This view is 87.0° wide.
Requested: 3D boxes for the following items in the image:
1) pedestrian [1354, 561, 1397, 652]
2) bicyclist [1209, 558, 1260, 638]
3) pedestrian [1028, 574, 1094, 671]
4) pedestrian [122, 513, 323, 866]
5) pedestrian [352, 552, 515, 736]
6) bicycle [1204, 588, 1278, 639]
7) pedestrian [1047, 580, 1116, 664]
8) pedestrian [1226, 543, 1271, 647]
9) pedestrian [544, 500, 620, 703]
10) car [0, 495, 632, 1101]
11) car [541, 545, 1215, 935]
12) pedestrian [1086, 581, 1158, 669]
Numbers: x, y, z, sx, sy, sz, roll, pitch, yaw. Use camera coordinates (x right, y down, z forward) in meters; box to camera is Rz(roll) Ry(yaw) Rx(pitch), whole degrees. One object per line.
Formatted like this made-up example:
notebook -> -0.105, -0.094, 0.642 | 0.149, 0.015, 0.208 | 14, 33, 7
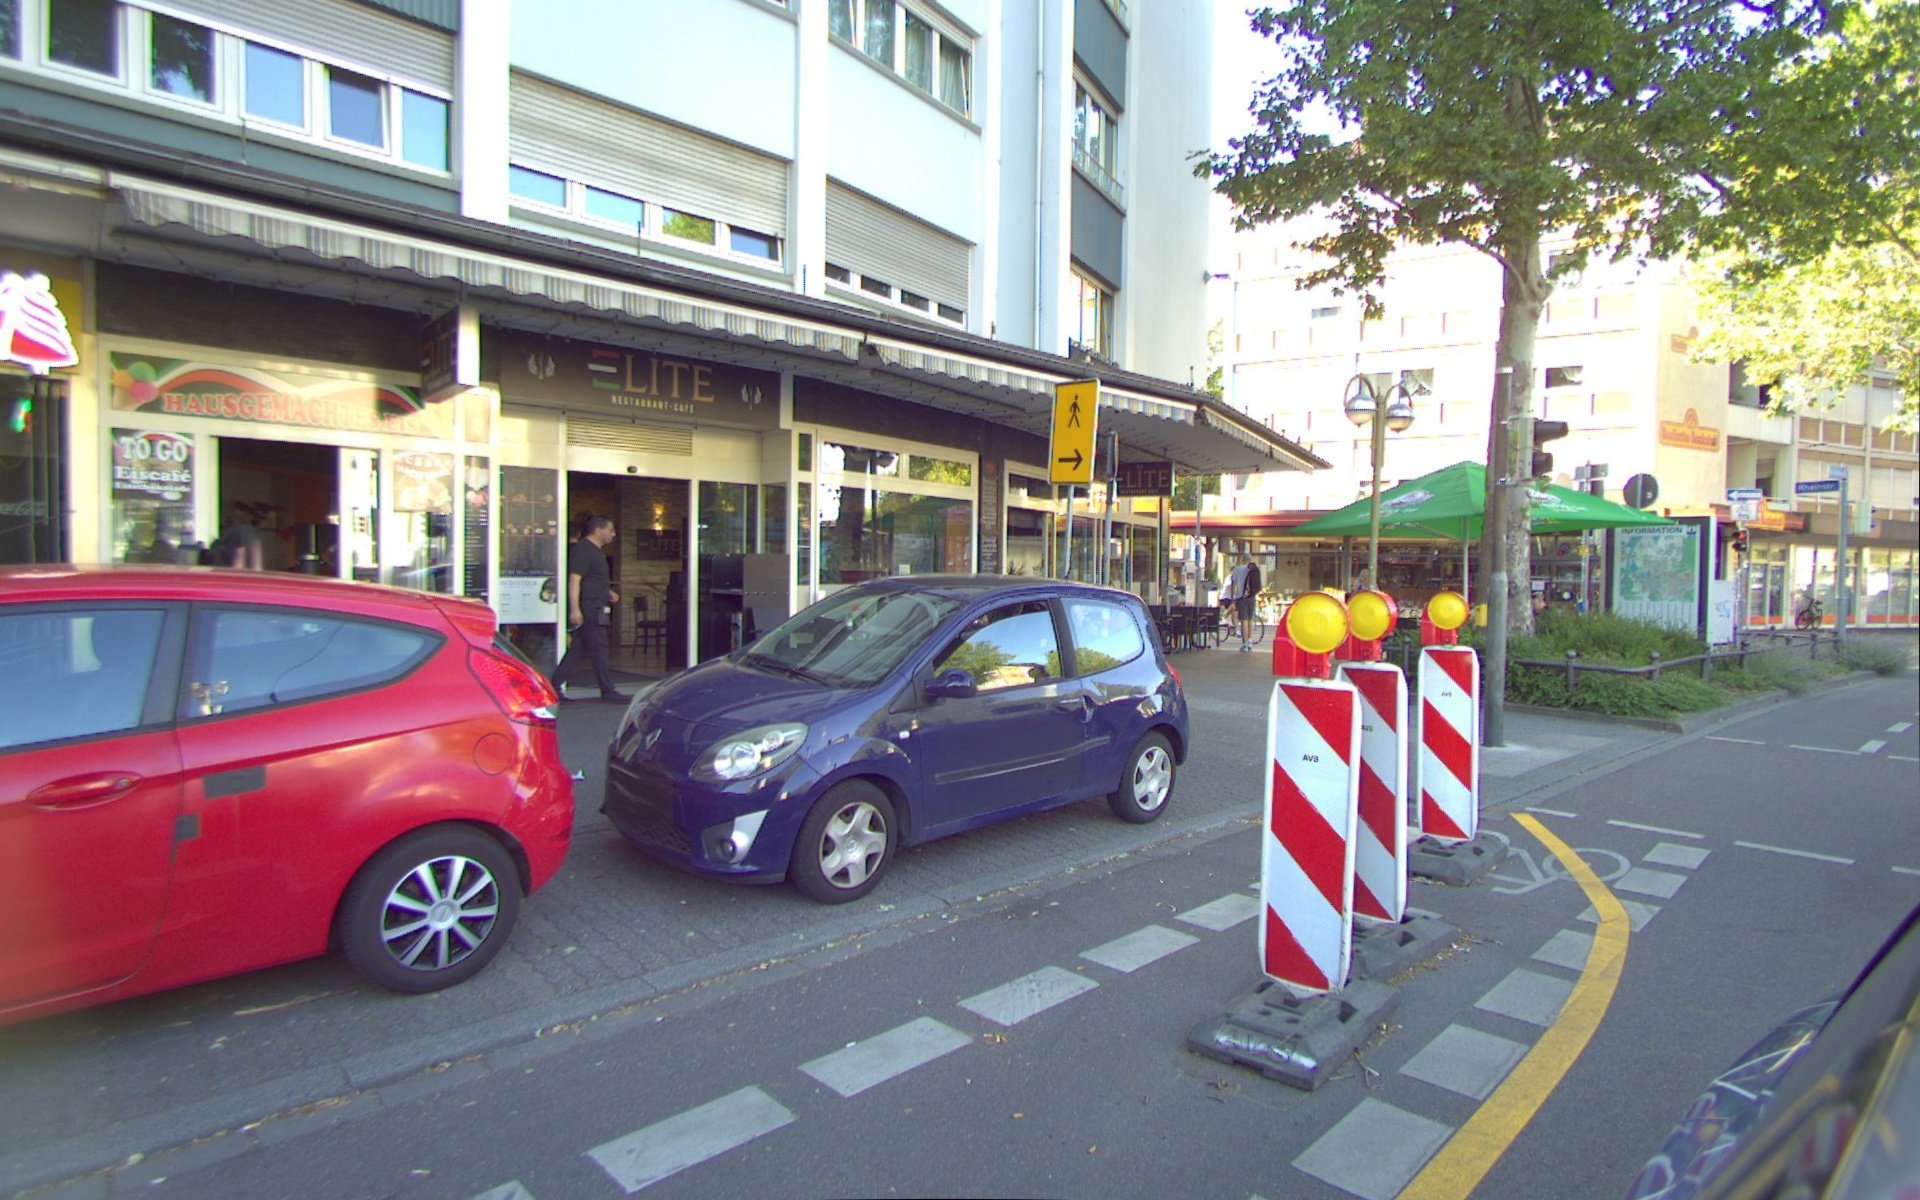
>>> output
pedestrian -> 7.766, 0.116, 18.900 | 0.624, 1.657, 0.525 | 2, 1, 34
bicyclist -> 6.506, -0.061, 24.010 | 0.737, 1.849, 0.928 | 1, 1, -18
pedestrian -> 1.408, 0.304, 14.271 | 0.685, 1.323, 0.793 | 1, 1, -13
pedestrian -> -3.812, 0.407, 5.241 | 0.783, 1.667, 0.583 | -1, 2, -42
pedestrian -> -4.247, 0.306, 8.150 | 0.937, 1.352, 1.069 | 0, 2, -41
bicycle -> 6.577, 0.307, 23.795 | 0.736, 1.144, 1.890 | 1, 0, -18
pedestrian -> 1.824, 0.305, 15.167 | 0.776, 1.207, 0.648 | 0, 2, -34
pedestrian -> 5.634, -0.108, 19.750 | 0.643, 1.983, 0.881 | 1, 1, 28
pedestrian -> -3.480, 0.000, 9.309 | 0.547, 1.800, 0.395 | -1, 4, -43
car -> -3.245, 0.472, 3.241 | 3.761, 1.614, 1.784 | -1, 5, -45
car -> -0.296, 0.511, 5.888 | 3.551, 1.485, 1.769 | -1, 5, -44
pedestrian -> 2.311, 0.339, 14.527 | 0.685, 1.207, 0.881 | 0, 1, -18
